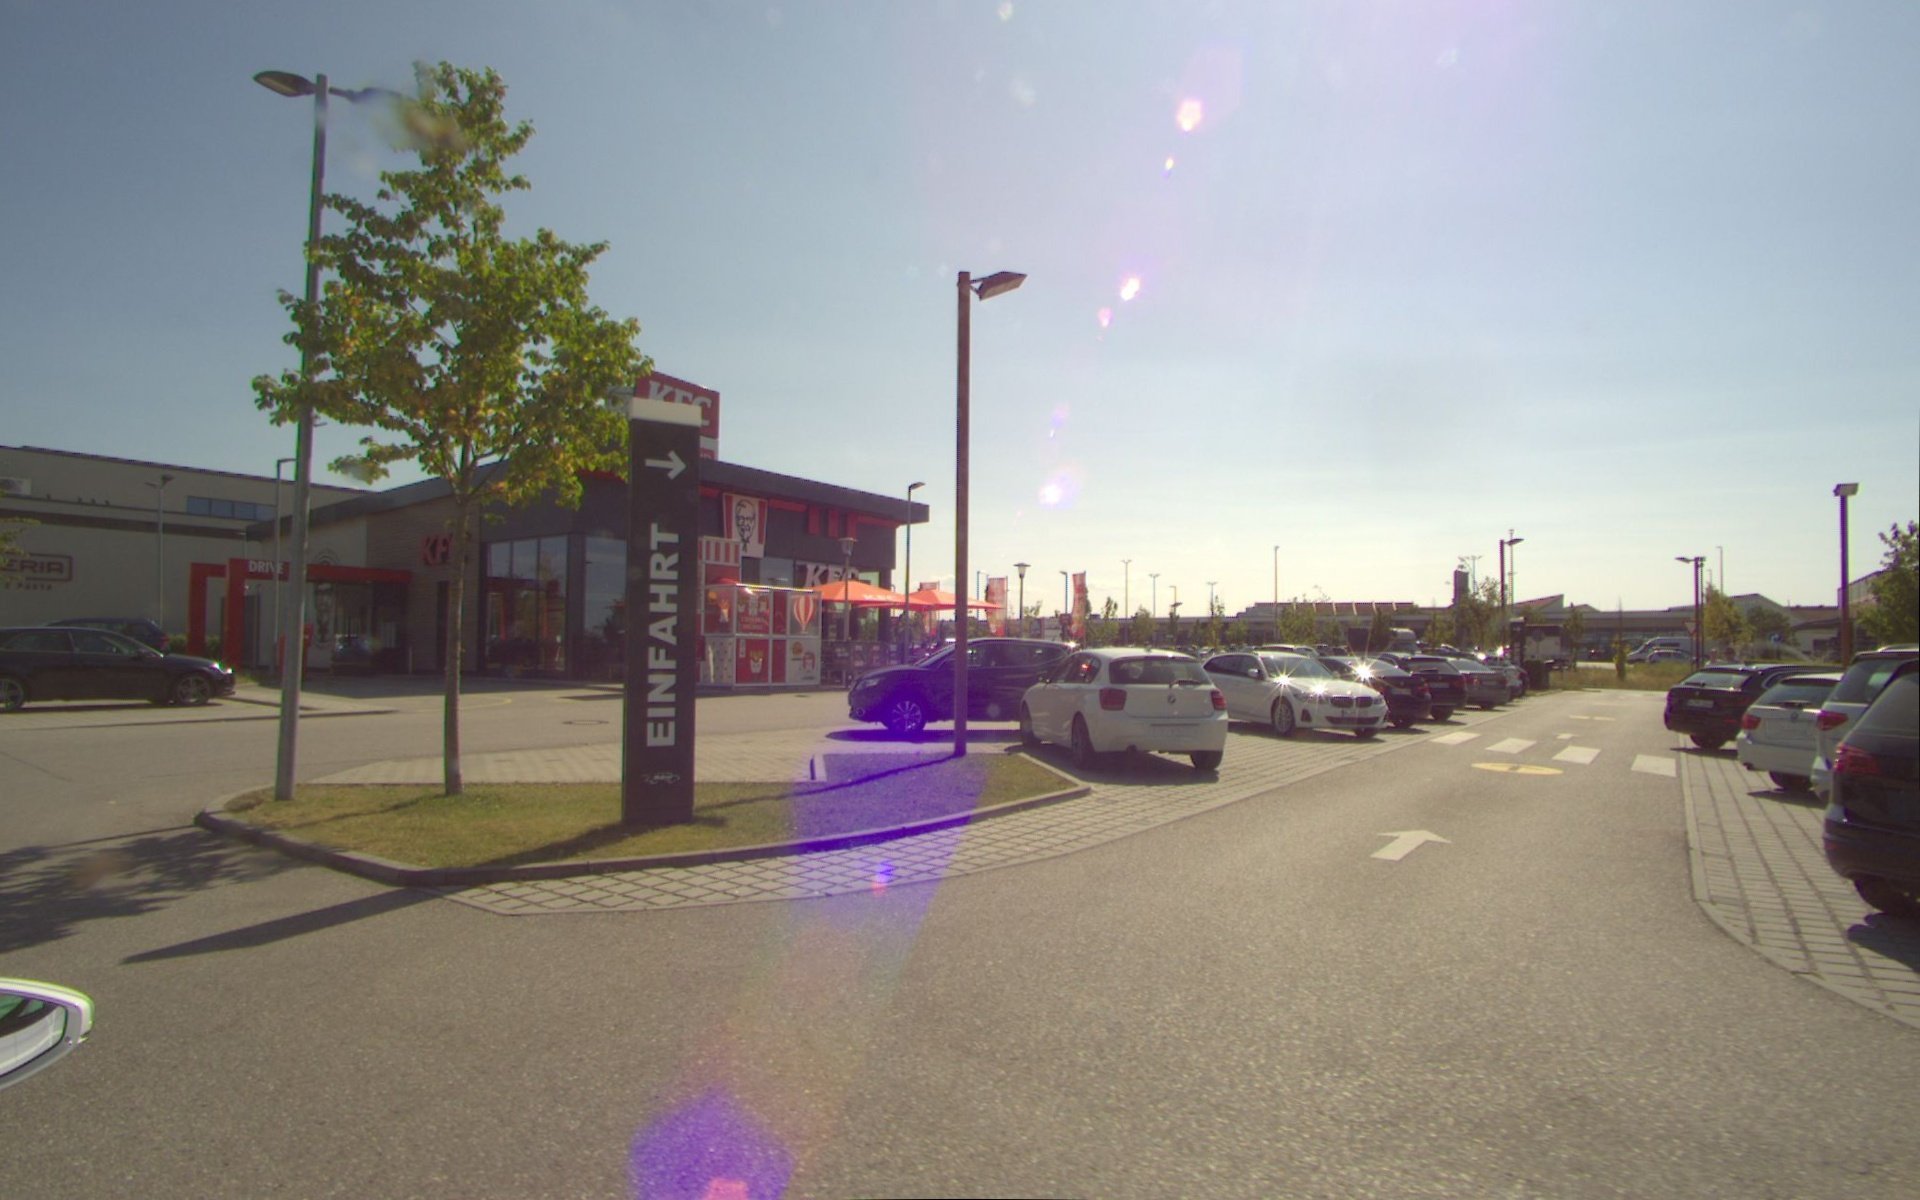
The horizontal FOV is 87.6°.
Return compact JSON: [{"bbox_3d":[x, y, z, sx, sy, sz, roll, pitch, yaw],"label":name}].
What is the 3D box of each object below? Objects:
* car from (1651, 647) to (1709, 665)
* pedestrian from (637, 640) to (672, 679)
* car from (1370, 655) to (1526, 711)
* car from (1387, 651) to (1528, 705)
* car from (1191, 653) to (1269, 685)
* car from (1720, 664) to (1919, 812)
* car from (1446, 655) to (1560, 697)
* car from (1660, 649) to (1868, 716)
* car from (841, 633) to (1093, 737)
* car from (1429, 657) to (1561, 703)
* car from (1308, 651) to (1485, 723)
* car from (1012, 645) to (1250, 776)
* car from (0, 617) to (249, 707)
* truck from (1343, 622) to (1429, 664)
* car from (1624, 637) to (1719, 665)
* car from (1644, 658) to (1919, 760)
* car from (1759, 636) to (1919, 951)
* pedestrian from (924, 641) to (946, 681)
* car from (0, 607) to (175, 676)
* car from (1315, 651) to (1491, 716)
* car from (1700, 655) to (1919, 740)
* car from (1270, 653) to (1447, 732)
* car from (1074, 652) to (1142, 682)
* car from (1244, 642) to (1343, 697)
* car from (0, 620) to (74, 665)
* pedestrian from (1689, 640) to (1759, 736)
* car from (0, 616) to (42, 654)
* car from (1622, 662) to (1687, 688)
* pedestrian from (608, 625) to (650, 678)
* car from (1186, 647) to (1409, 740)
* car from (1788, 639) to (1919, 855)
[{"bbox_3d":[59.177,4.626,82.407,3.857,1.359,1.656,-1,-3,36],"label":"car"},{"bbox_3d":[-8.714,1.700,28.570,0.620,1.085,0.714,0,-2,33],"label":"pedestrian"},{"bbox_3d":[14.256,2.400,29.602,1.680,1.428,4.681,2,-3,-11],"label":"car"},{"bbox_3d":[16.145,2.503,32.731,1.776,1.575,4.048,2,-3,-19],"label":"car"},{"bbox_3d":[12.668,3.224,46.860,1.867,1.415,4.123,-1,-3,42],"label":"car"},{"bbox_3d":[11.012,1.506,11.143,4.005,1.425,1.794,2,-2,-9],"label":"car"},{"bbox_3d":[20.531,2.862,38.030,1.878,1.440,3.775,2,-3,-10],"label":"car"},{"bbox_3d":[19.306,1.967,24.112,3.829,1.444,1.707,2,-2,-7],"label":"car"},{"bbox_3d":[0.051,1.402,16.819,4.009,1.596,1.757,1,-2,-8],"label":"car"},{"bbox_3d":[18.708,2.759,35.211,1.766,1.440,4.082,2,-3,-16],"label":"car"},{"bbox_3d":[10.159,1.984,23.634,1.788,1.507,3.997,2,-3,-13],"label":"car"},{"bbox_3d":[2.053,1.344,13.310,1.809,1.443,4.185,2,-3,-10],"label":"car"},{"bbox_3d":[-15.468,1.091,17.881,1.675,1.459,4.191,0,-3,35],"label":"car"},{"bbox_3d":[36.982,3.705,87.263,2.382,3.394,7.548,2,-2,-20],"label":"truck"},{"bbox_3d":[60.429,4.325,85.207,6.485,2.272,2.287,-1,-3,36],"label":"car"},{"bbox_3d":[14.217,1.799,16.801,4.333,1.530,1.984,2,-2,-8],"label":"car"},{"bbox_3d":[6.802,1.012,5.198,4.112,1.556,1.896,2,-2,-9],"label":"car"},{"bbox_3d":[-0.815,1.997,32.914,0.584,1.285,0.686,1,-2,10],"label":"pedestrian"},{"bbox_3d":[-23.809,1.103,26.593,1.617,1.706,4.366,0,-3,31],"label":"car"},{"bbox_3d":[11.731,2.173,26.866,1.750,1.530,4.341,2,-3,-22],"label":"car"},{"bbox_3d":[17.556,1.922,19.992,4.333,1.530,1.984,2,-2,-8],"label":"car"},{"bbox_3d":[8.195,1.865,20.998,1.786,1.420,4.001,1,-3,-6],"label":"car"},{"bbox_3d":[7.693,3.460,51.986,1.670,1.472,3.724,-1,-3,43],"label":"car"},{"bbox_3d":[11.701,2.399,34.962,2.046,1.771,4.341,0,-3,37],"label":"car"},{"bbox_3d":[-31.692,1.366,32.586,1.627,1.438,3.981,0,-3,32],"label":"car"},{"bbox_3d":[16.055,1.818,21.043,0.893,1.940,1.020,3,-2,-42],"label":"pedestrian"},{"bbox_3d":[-37.015,1.269,37.225,1.627,1.438,3.981,0,-3,32],"label":"car"},{"bbox_3d":[52.368,5.646,75.572,3.943,1.749,1.886,0,-3,32],"label":"car"},{"bbox_3d":[-9.194,1.428,27.827,0.761,1.453,0.796,0,-1,33],"label":"pedestrian"},{"bbox_3d":[6.066,1.649,18.637,1.879,1.490,4.470,2,-3,-12],"label":"car"},{"bbox_3d":[9.343,1.213,8.206,3.991,1.660,1.748,2,-2,-9],"label":"car"}]
